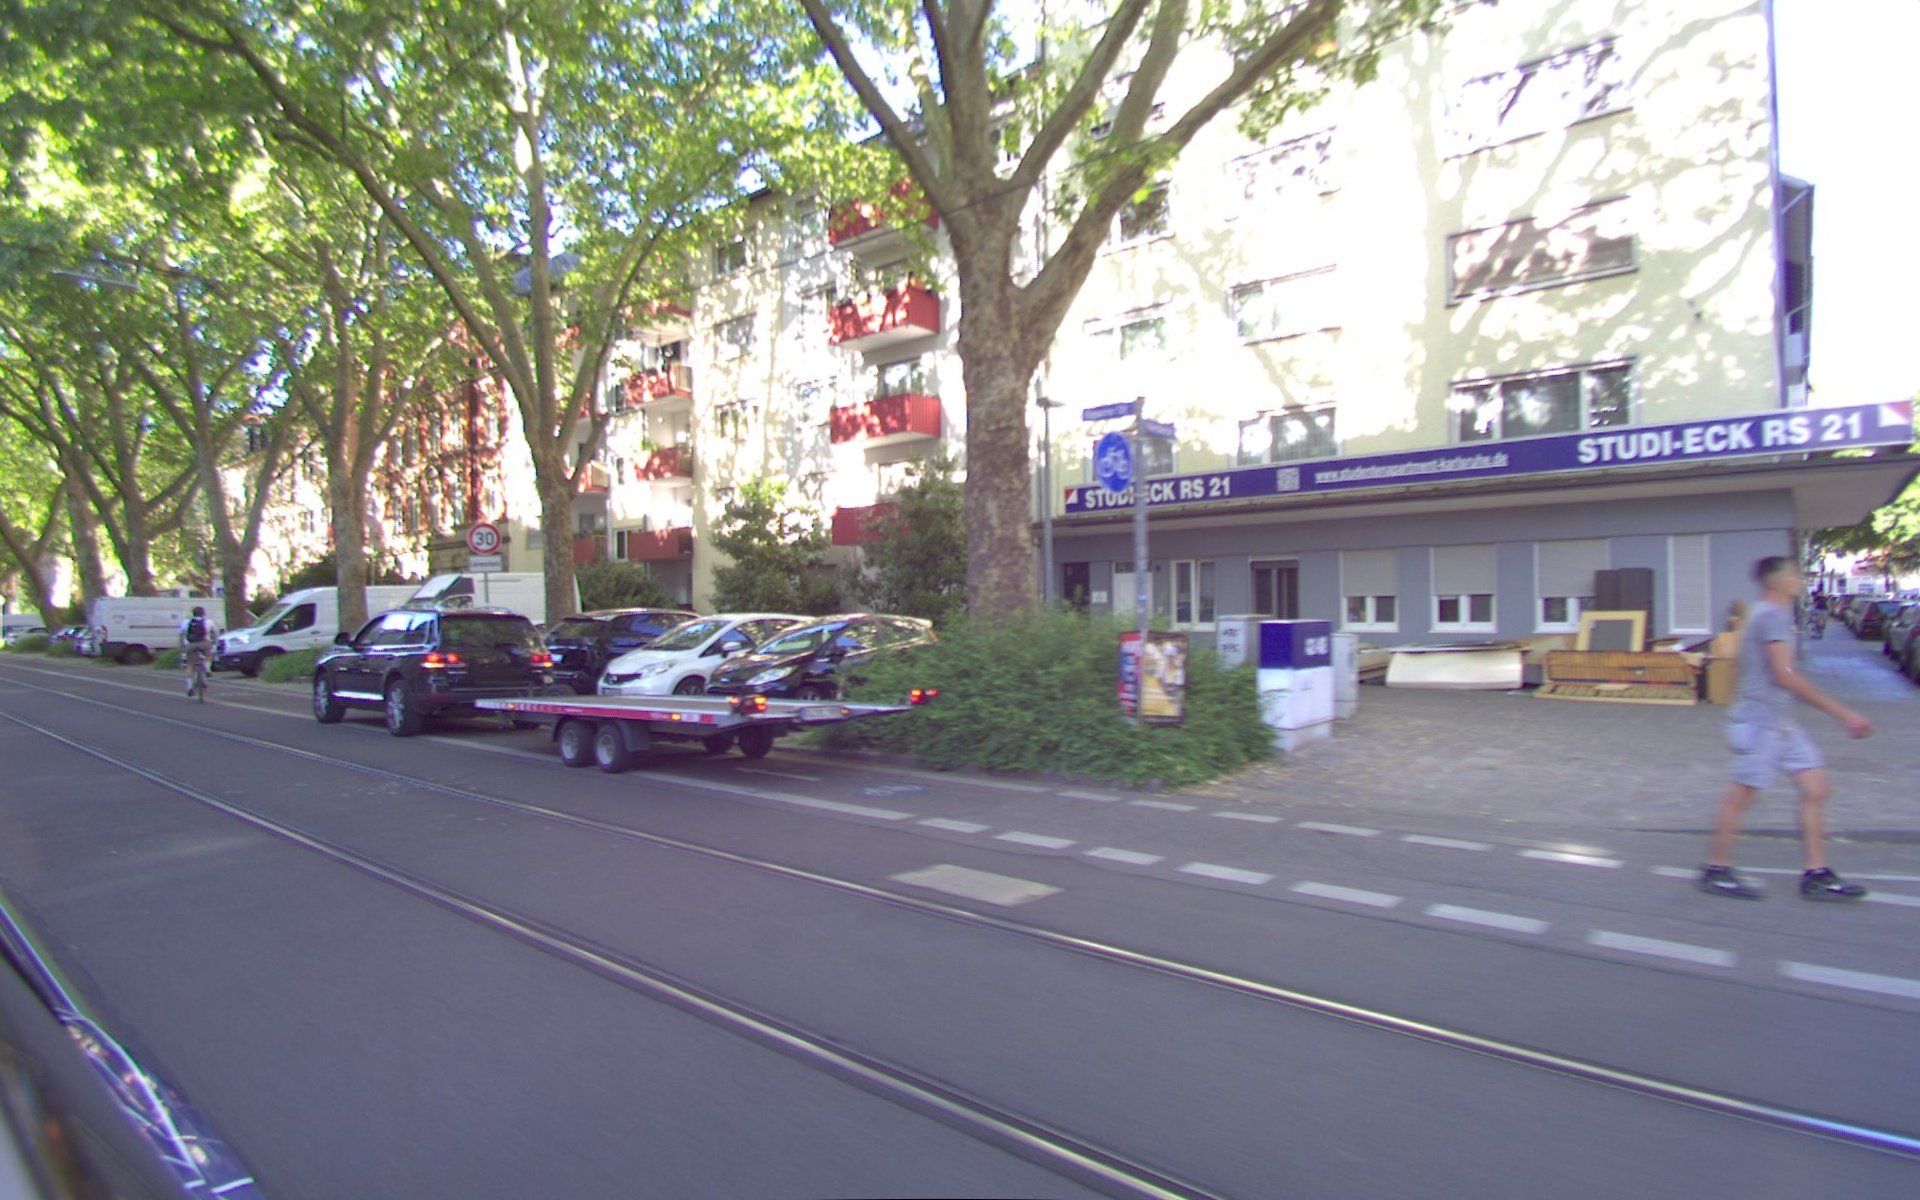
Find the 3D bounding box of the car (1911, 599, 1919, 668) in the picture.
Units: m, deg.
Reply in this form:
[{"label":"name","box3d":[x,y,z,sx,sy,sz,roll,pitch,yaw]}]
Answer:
[{"label":"car","box3d":[20.556,0.691,20.193,1.818,1.463,3.950,-2,-1,37]}]

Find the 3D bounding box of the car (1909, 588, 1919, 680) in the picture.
[{"label":"car","box3d":[16.023,0.548,15.400,1.818,1.546,3.950,-2,-1,37]}]

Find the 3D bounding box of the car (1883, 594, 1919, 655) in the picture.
[{"label":"car","box3d":[24.764,0.573,25.481,1.818,1.463,3.950,-2,-1,37]}]

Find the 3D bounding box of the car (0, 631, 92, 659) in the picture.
[{"label":"car","box3d":[-53.064,2.584,58.658,1.877,1.471,3.947,-2,-1,40]}]

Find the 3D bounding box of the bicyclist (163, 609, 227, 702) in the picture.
[{"label":"bicyclist","box3d":[-14.515,1.031,19.206,0.957,1.690,0.776,-2,-1,40]}]

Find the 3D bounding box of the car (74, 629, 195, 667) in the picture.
[{"label":"car","box3d":[-36.757,2.090,45.111,1.829,1.507,3.945,-2,-1,41]}]

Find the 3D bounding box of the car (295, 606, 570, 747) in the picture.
[{"label":"car","box3d":[-7.659,1.000,14.521,4.481,1.713,1.973,-2,-2,41]}]

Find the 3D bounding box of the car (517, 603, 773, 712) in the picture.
[{"label":"car","box3d":[-5.462,0.920,17.916,1.892,1.660,3.948,-2,-1,39]}]

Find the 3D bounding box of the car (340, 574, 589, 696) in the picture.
[{"label":"car","box3d":[-11.600,0.752,24.029,2.078,2.587,4.899,-2,-1,36]}]

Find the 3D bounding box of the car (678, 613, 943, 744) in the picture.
[{"label":"car","box3d":[-2.000,0.994,14.220,1.784,1.542,3.398,-2,-1,37]}]

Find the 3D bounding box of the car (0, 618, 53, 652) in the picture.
[{"label":"car","box3d":[-75.985,2.860,79.698,1.999,2.425,6.535,-3,1,41]}]

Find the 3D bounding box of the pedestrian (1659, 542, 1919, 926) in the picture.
[{"label":"pedestrian","box3d":[4.178,0.627,5.113,0.908,1.748,0.707,-2,-2,26]}]

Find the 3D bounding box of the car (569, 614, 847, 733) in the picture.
[{"label":"car","box3d":[-3.801,1.038,15.806,1.769,1.533,3.948,-2,-1,39]}]

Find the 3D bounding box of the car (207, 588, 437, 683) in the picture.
[{"label":"car","box3d":[-18.375,0.938,29.390,2.056,2.496,5.305,-2,-1,41]}]

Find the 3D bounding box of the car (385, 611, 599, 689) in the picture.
[{"label":"car","box3d":[-10.129,1.031,22.099,1.859,1.489,3.816,-2,-1,39]}]

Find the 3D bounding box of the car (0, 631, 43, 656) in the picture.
[{"label":"car","box3d":[-69.329,3.147,73.168,1.814,1.725,4.279,-2,-1,37]}]

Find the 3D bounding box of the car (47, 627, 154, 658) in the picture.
[{"label":"car","box3d":[-45.065,2.220,53.130,1.764,1.471,3.958,-2,-1,31]}]

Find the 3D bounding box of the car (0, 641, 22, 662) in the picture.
[{"label":"car","box3d":[-72.111,3.878,74.890,1.745,1.529,3.734,-2,-1,37]}]

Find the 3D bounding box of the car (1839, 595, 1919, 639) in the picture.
[{"label":"car","box3d":[32.428,0.588,35.708,1.818,1.442,3.950,-2,-1,37]}]

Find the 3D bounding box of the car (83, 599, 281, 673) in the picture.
[{"label":"car","box3d":[-29.662,1.300,38.772,2.161,2.555,5.682,-2,-1,41]}]

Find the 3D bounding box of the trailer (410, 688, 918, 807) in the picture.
[{"label":"trailer","box3d":[-3.525,1.428,10.971,6.395,0.636,2.139,-2,-2,40]}]

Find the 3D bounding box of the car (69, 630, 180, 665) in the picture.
[{"label":"car","box3d":[-38.657,2.182,46.855,1.703,1.471,3.754,-2,-1,41]}]

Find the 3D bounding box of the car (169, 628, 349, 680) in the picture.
[{"label":"car","box3d":[-22.279,1.657,32.301,1.932,1.395,4.365,-2,0,40]}]

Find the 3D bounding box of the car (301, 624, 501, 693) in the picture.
[{"label":"car","box3d":[-13.913,1.395,25.348,1.871,1.477,3.977,-2,0,41]}]

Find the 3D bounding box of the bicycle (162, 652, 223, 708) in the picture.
[{"label":"bicycle","box3d":[-14.580,1.500,19.207,1.927,0.969,0.515,-2,-1,41]}]
